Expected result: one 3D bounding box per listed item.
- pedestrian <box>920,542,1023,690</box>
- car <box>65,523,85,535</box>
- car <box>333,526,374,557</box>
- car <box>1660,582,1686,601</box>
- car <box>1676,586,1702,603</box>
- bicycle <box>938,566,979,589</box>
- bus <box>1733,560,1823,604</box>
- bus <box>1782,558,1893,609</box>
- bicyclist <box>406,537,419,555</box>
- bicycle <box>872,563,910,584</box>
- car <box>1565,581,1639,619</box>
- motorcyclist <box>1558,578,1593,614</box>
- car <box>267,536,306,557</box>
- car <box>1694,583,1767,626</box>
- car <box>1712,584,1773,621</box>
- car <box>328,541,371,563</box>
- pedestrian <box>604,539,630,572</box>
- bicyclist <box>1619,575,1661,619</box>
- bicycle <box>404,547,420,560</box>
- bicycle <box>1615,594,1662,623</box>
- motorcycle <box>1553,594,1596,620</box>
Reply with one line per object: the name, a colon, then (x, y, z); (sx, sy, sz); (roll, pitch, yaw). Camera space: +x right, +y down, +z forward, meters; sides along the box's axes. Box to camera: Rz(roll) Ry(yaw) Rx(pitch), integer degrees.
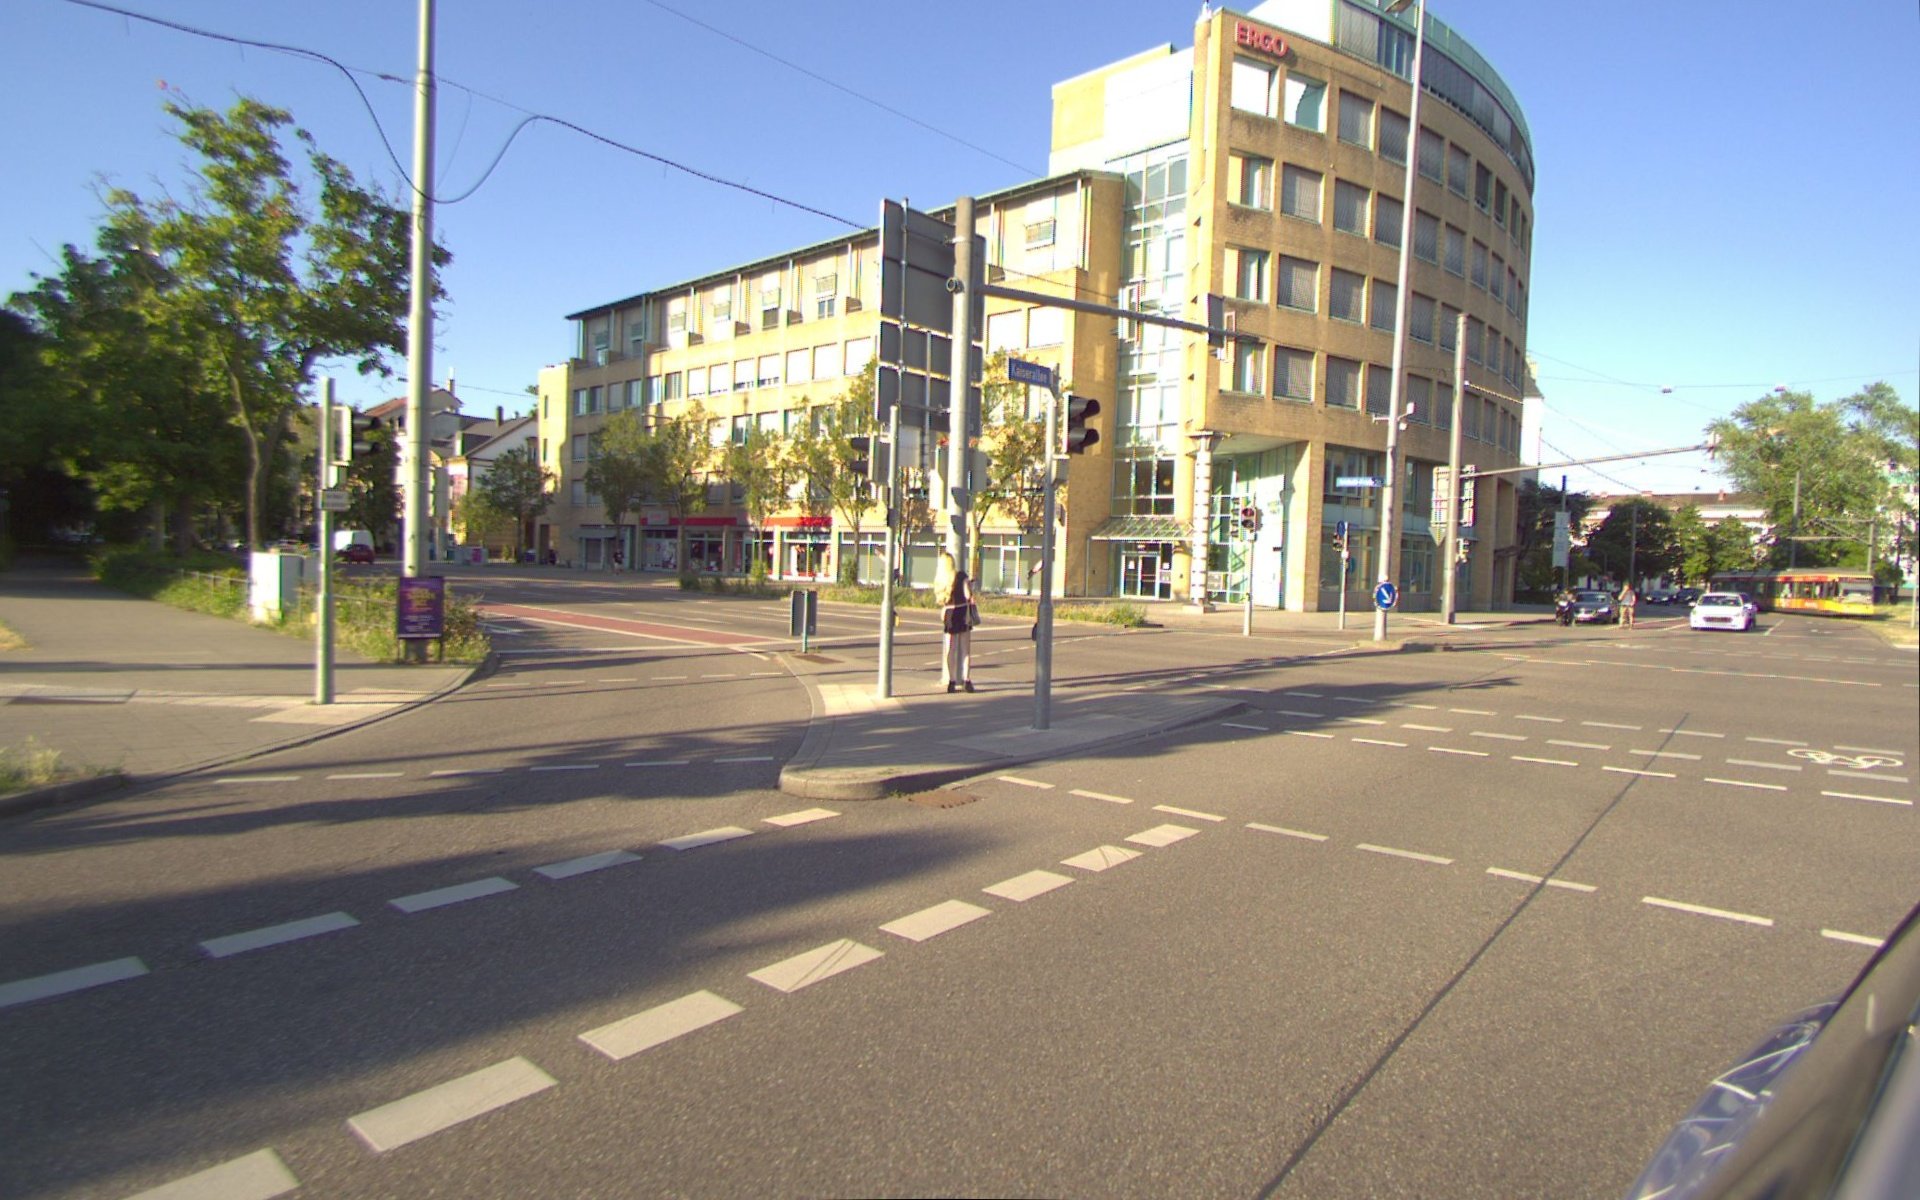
pedestrian: (0.142, 0.173, 12.771); (0.965, 1.760, 0.799); (3, 2, 44)
car: (-134.700, -10.779, 154.053); (3.988, 1.691, 1.863); (4, 2, 43)
car: (-52.166, -5.035, 87.010); (3.988, 2.471, 1.969); (4, 1, 43)
car: (73.674, -0.926, 104.607); (1.837, 1.840, 3.942); (3, 2, 40)
car: (83.845, -0.687, 116.421); (1.839, 1.840, 3.937); (4, 3, 44)
bicycle: (-0.100, -1.097, 48.773); (2.074, 1.007, 0.638); (4, 2, 43)
bus: (65.690, -1.463, 81.598); (2.325, 3.249, 11.002); (2, 2, 21)
bus: (61.593, -1.185, 71.363); (2.383, 3.249, 11.035); (2, 2, 22)
bicyclist: (-44.650, -4.376, 82.489); (0.927, 1.386, 0.584); (5, 2, 43)
bicycle: (-3.552, -1.344, 51.993); (2.074, 1.007, 0.638); (4, 2, 43)
car: (29.246, -0.035, 46.054); (1.980, 1.556, 4.426); (3, 3, 43)
motorcyclist: (25.388, -0.173, 41.735); (1.028, 1.453, 1.052); (3, 2, 42)
car: (-58.505, -4.679, 87.851); (4.256, 1.627, 1.893); (4, 2, 43)
car: (30.033, 0.122, 39.396); (1.987, 1.510, 4.115); (3, 2, 41)
car: (34.555, 0.080, 44.648); (1.814, 1.510, 4.003); (3, 2, 42)
car: (-45.314, -3.578, 75.077); (3.988, 1.480, 1.649); (4, 2, 43)
pedestrian: (-21.716, -2.807, 64.116); (1.157, 2.000, 1.094); (3, 2, 43)
bicyclist: (26.164, -0.131, 38.932); (1.150, 1.591, 1.209); (3, 2, 41)
bicycle: (-44.653, -3.756, 82.465); (1.972, 0.954, 0.584); (5, 2, 44)
bicycle: (26.111, 0.317, 38.917); (1.149, 1.013, 2.926); (4, 3, 41)
motorcycle: (25.365, 0.269, 41.735); (1.028, 0.975, 2.685); (3, 3, 42)
